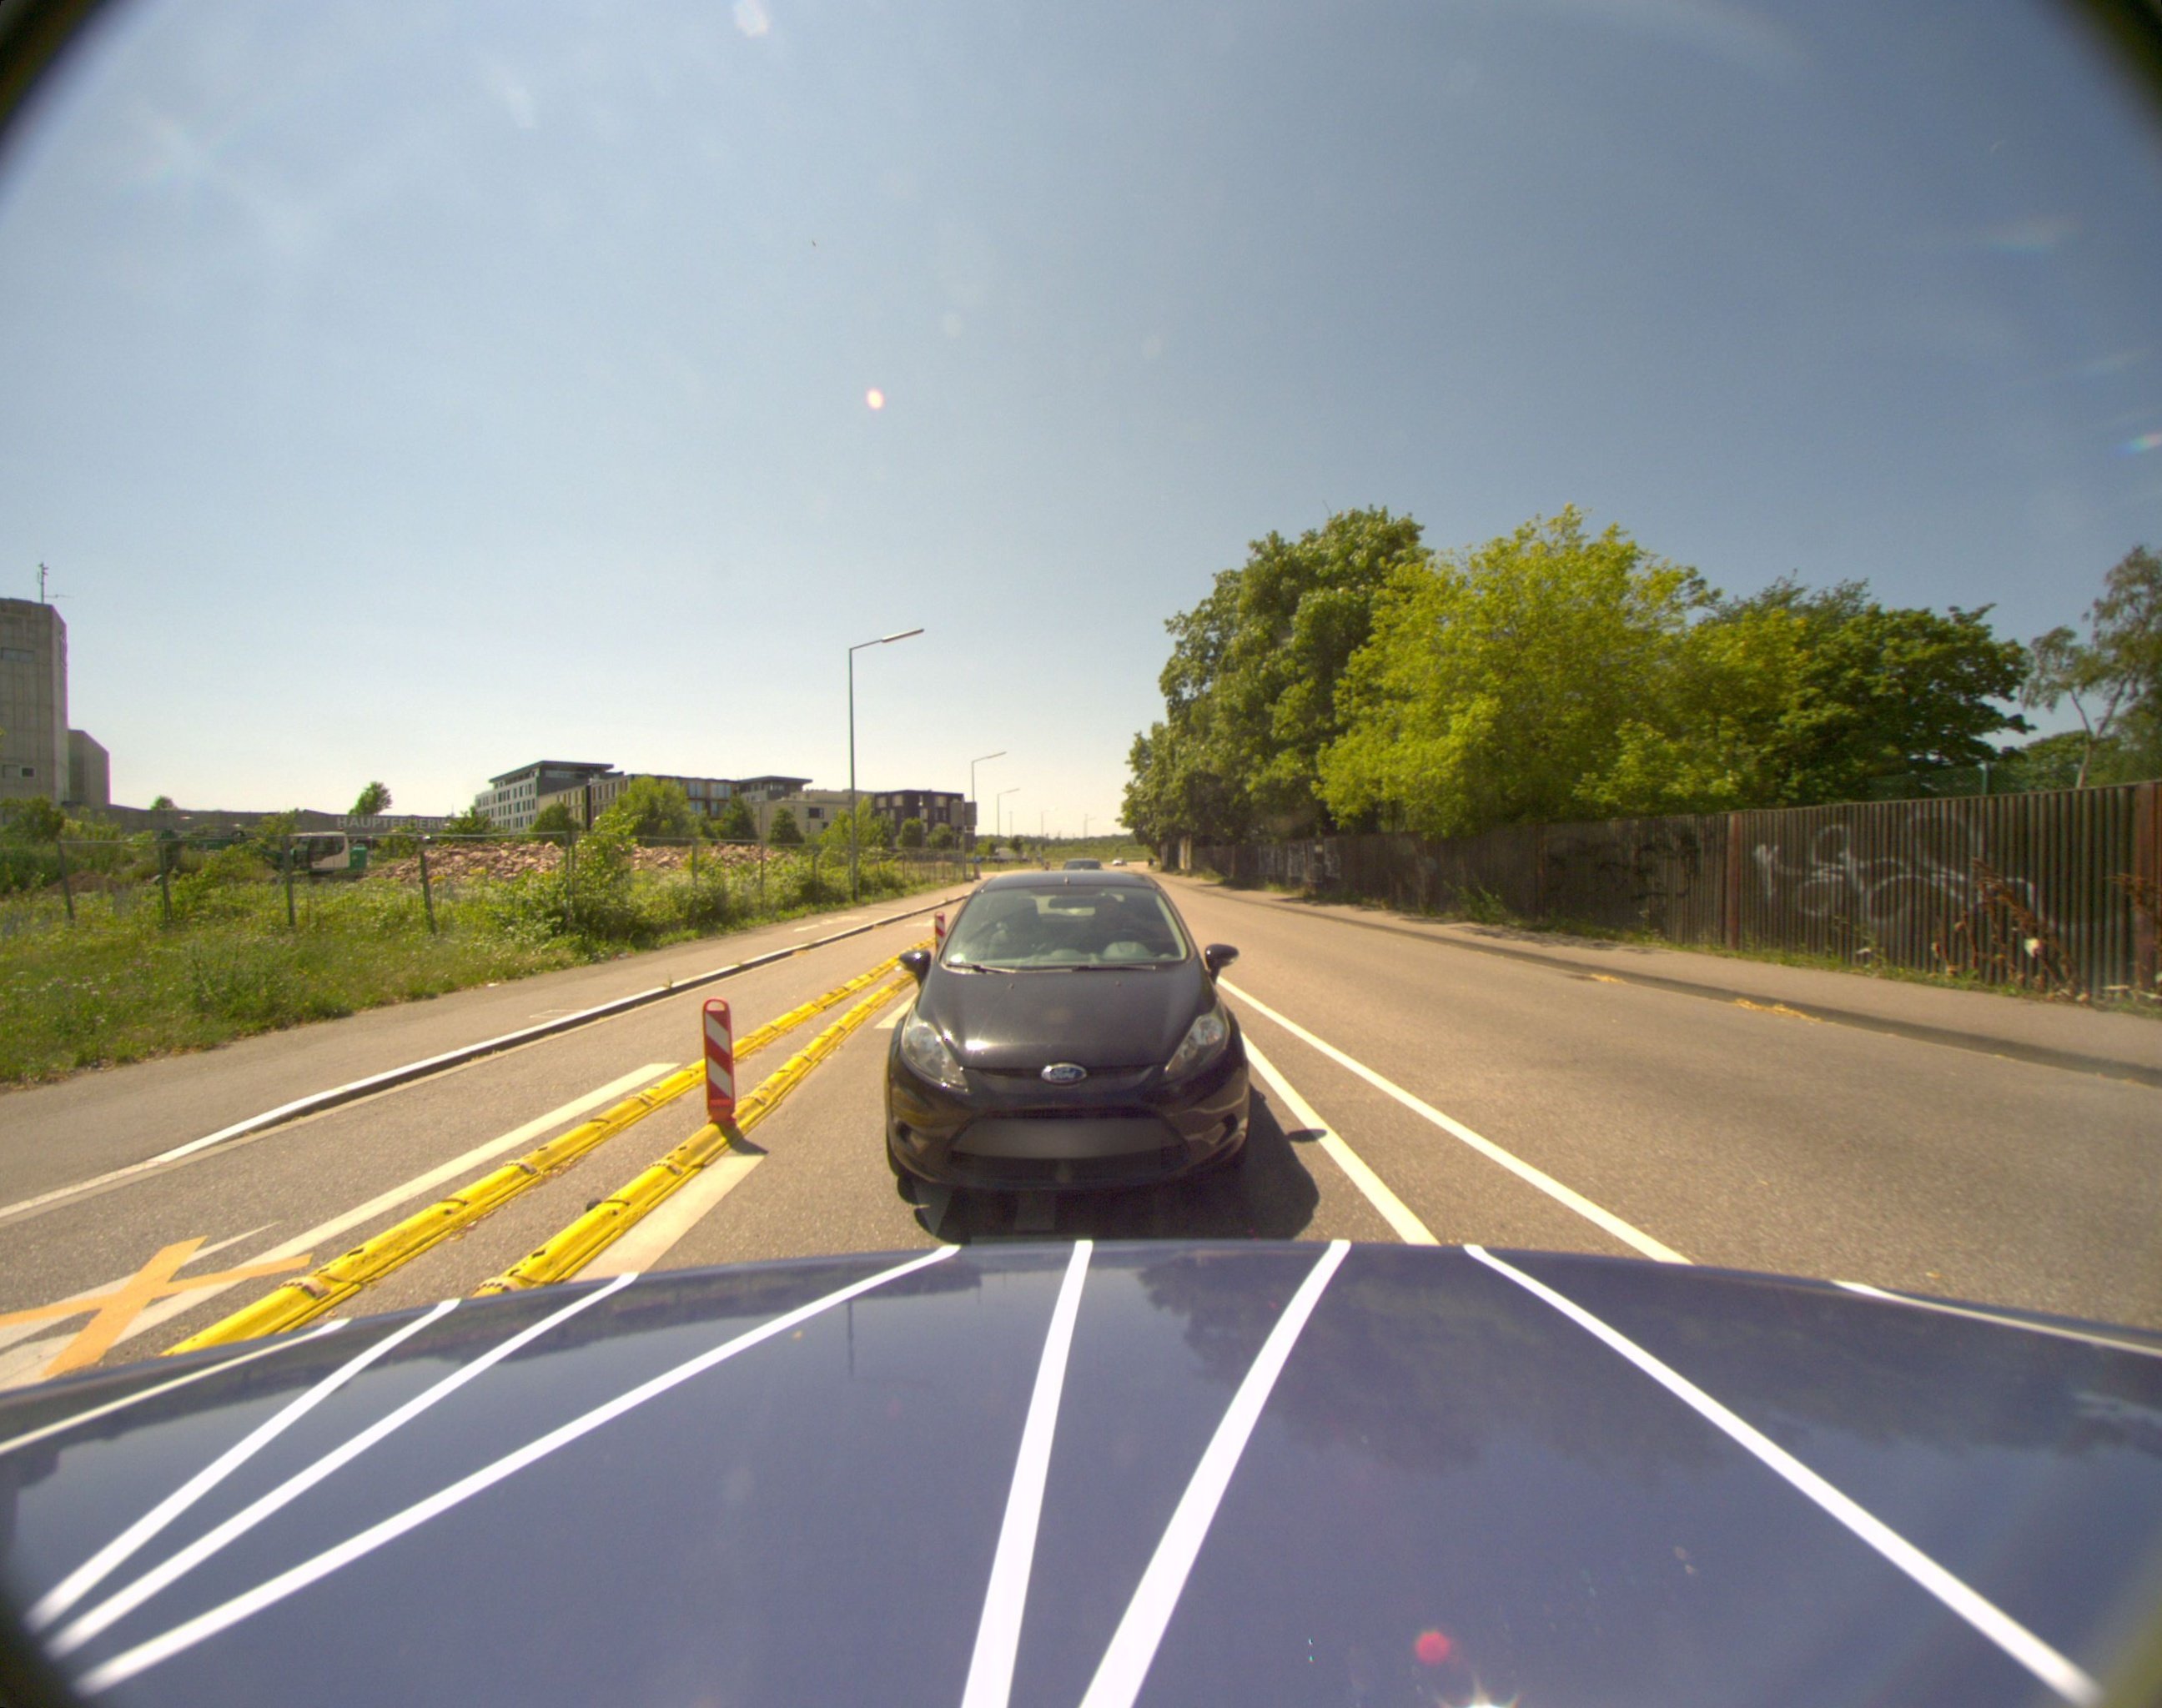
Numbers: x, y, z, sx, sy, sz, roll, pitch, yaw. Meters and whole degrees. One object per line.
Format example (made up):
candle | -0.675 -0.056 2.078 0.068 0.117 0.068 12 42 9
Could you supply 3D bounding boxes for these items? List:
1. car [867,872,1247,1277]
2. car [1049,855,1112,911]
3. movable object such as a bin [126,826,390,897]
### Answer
car | -0.071 0.973 5.174 1.528 1.510 3.999 -2 1 1
car | 0.011 0.920 26.519 1.924 1.643 4.668 -2 1 1
movable object such as a bin | -38.352 0.271 35.934 3.231 2.899 7.702 -2 1 15
